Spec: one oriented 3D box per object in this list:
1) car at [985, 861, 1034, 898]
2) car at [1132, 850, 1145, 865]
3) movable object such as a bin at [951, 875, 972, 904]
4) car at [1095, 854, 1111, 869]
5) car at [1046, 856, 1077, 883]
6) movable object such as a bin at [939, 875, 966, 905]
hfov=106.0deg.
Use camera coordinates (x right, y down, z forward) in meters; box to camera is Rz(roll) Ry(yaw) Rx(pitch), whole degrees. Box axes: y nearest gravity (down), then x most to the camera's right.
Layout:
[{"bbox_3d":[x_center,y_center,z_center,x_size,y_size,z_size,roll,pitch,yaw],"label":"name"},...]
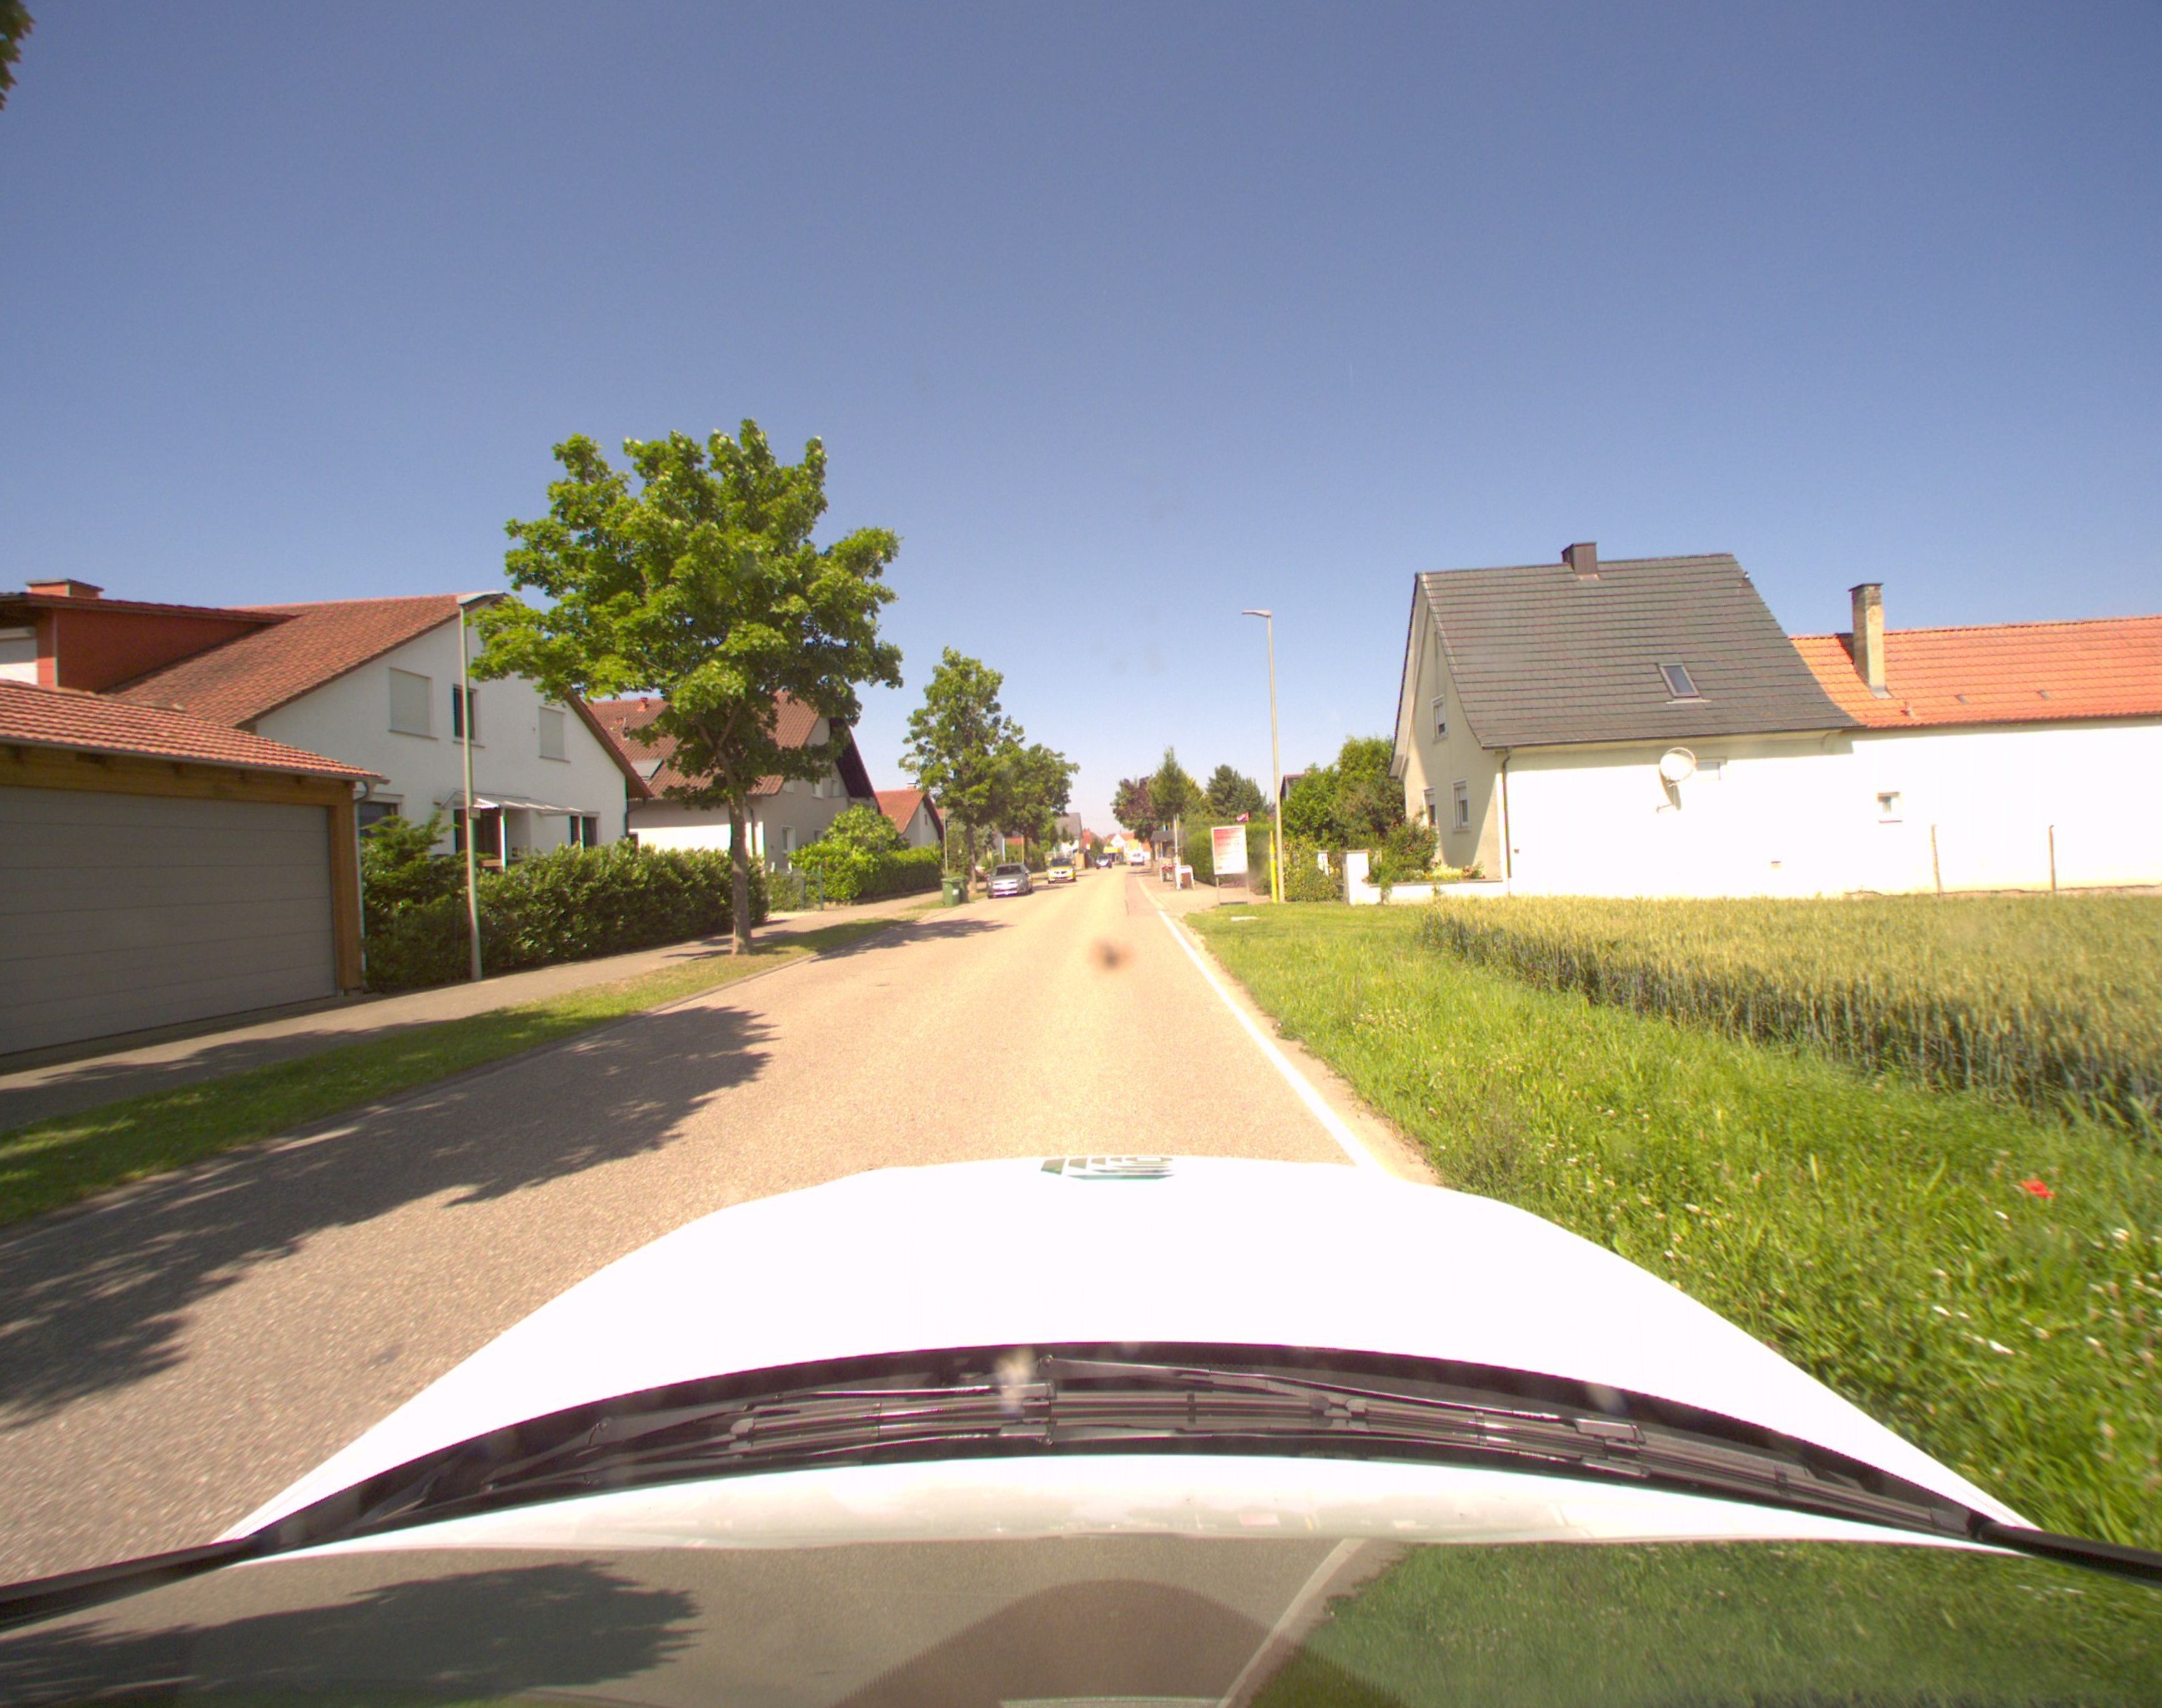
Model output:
[{"bbox_3d":[-3.126,1.096,36.376,1.642,1.423,4.080,-5,0,0],"label":"car"},{"bbox_3d":[9.387,0.551,133.149,1.729,2.432,4.382,-3,0,6],"label":"car"},{"bbox_3d":[-4.654,1.363,31.714,0.570,1.079,0.601,-3,-1,15],"label":"movable object such as a bin"},{"bbox_3d":[2.780,0.952,103.838,1.829,1.752,3.796,-3,0,0],"label":"car"},{"bbox_3d":[-1.190,0.944,51.263,1.659,1.524,3.444,-4,0,2],"label":"car"},{"bbox_3d":[-4.887,1.368,31.008,0.706,1.079,0.643,-3,-1,27],"label":"movable object such as a bin"}]
